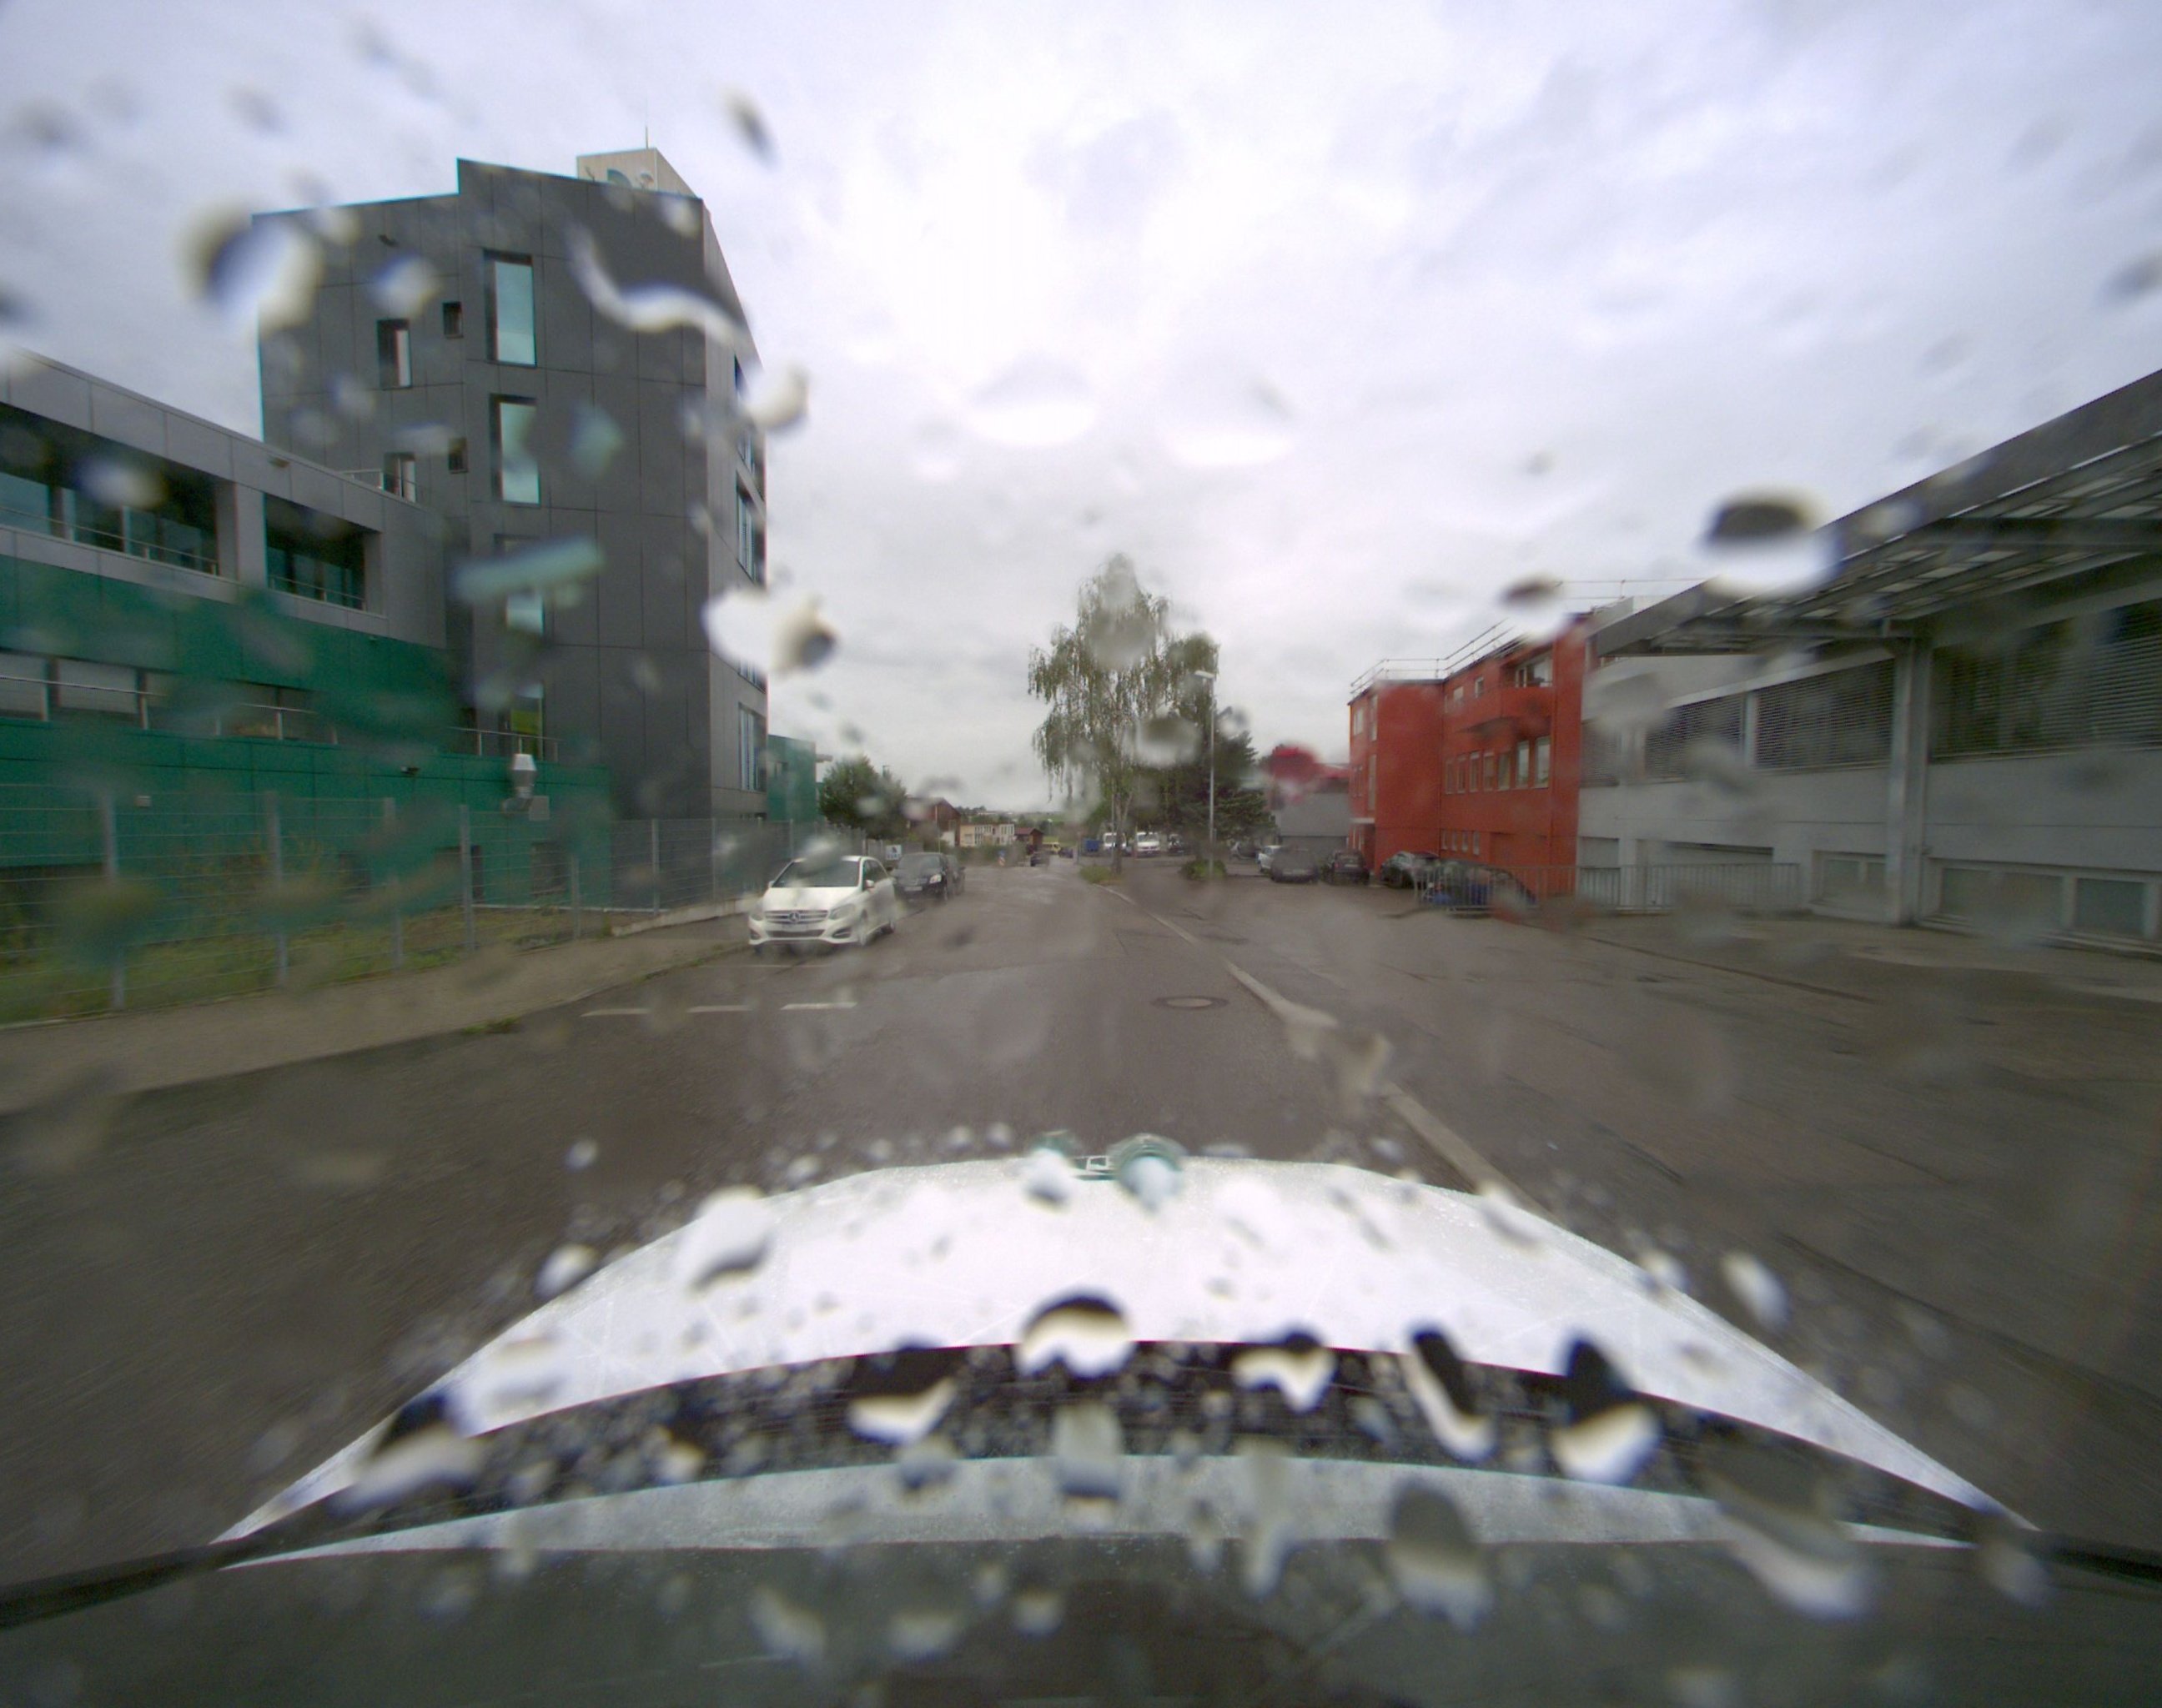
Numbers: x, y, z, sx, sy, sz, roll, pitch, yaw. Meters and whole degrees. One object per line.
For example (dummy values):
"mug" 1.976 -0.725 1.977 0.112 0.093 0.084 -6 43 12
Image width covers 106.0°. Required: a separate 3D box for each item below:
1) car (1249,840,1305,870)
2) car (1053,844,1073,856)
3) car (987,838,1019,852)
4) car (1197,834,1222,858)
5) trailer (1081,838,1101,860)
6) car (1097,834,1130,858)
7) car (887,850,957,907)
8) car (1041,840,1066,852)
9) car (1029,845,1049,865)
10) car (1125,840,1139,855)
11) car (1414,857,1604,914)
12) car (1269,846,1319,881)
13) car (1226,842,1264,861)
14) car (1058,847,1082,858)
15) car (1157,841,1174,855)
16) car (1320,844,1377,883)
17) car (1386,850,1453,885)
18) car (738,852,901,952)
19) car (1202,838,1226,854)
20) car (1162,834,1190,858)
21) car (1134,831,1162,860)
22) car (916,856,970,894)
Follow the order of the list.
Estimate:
"car" 10.428 0.077 43.612 2.058 1.552 4.000 0 -1 0
"car" -2.784 -0.586 124.226 1.999 1.704 3.975 0 -1 -18
"car" -10.675 -1.174 111.893 3.964 1.882 2.005 0 0 8
"car" 11.420 -0.683 72.638 1.774 2.014 3.634 0 -1 2
"trailer" 0.969 -0.480 76.234 1.846 2.013 4.000 0 0 1
"car" 2.854 -0.666 71.936 2.263 2.014 3.990 0 -1 -7
"car" -4.973 0.700 25.956 1.697 1.609 3.994 -1 1 -4
"car" -5.168 -1.555 153.265 4.210 2.226 2.007 0 -1 14
"car" -4.343 0.149 83.777 1.864 2.029 3.998 0 -1 -1
"car" 4.849 -0.599 77.770 1.285 1.424 2.547 0 -1 2
"car" 9.399 0.663 18.154 3.380 1.163 1.797 0 0 10
"car" 9.394 0.430 36.185 1.687 1.475 4.009 0 -1 8
"car" 11.717 -0.169 58.238 2.537 1.352 1.243 0 0 3
"car" -1.620 -0.191 118.447 2.467 1.539 3.975 0 -1 -19
"car" 8.099 -0.569 78.353 1.393 1.326 2.702 0 -1 2
"car" 11.925 0.421 36.532 1.729 1.653 4.009 0 -1 8
"car" 14.539 0.569 35.178 1.719 1.422 4.009 0 -1 8
"car" -4.491 0.762 14.642 1.766 1.513 4.140 -1 -1 -3
"car" 12.795 -0.771 78.349 1.632 1.453 3.509 0 -1 -1
"car" 8.456 -0.674 72.596 2.137 2.014 3.941 0 -1 2
"car" 5.883 -0.726 71.978 2.185 2.459 3.999 0 -1 0
"car" -5.260 0.786 31.500 1.629 1.393 3.994 0 -1 -4
